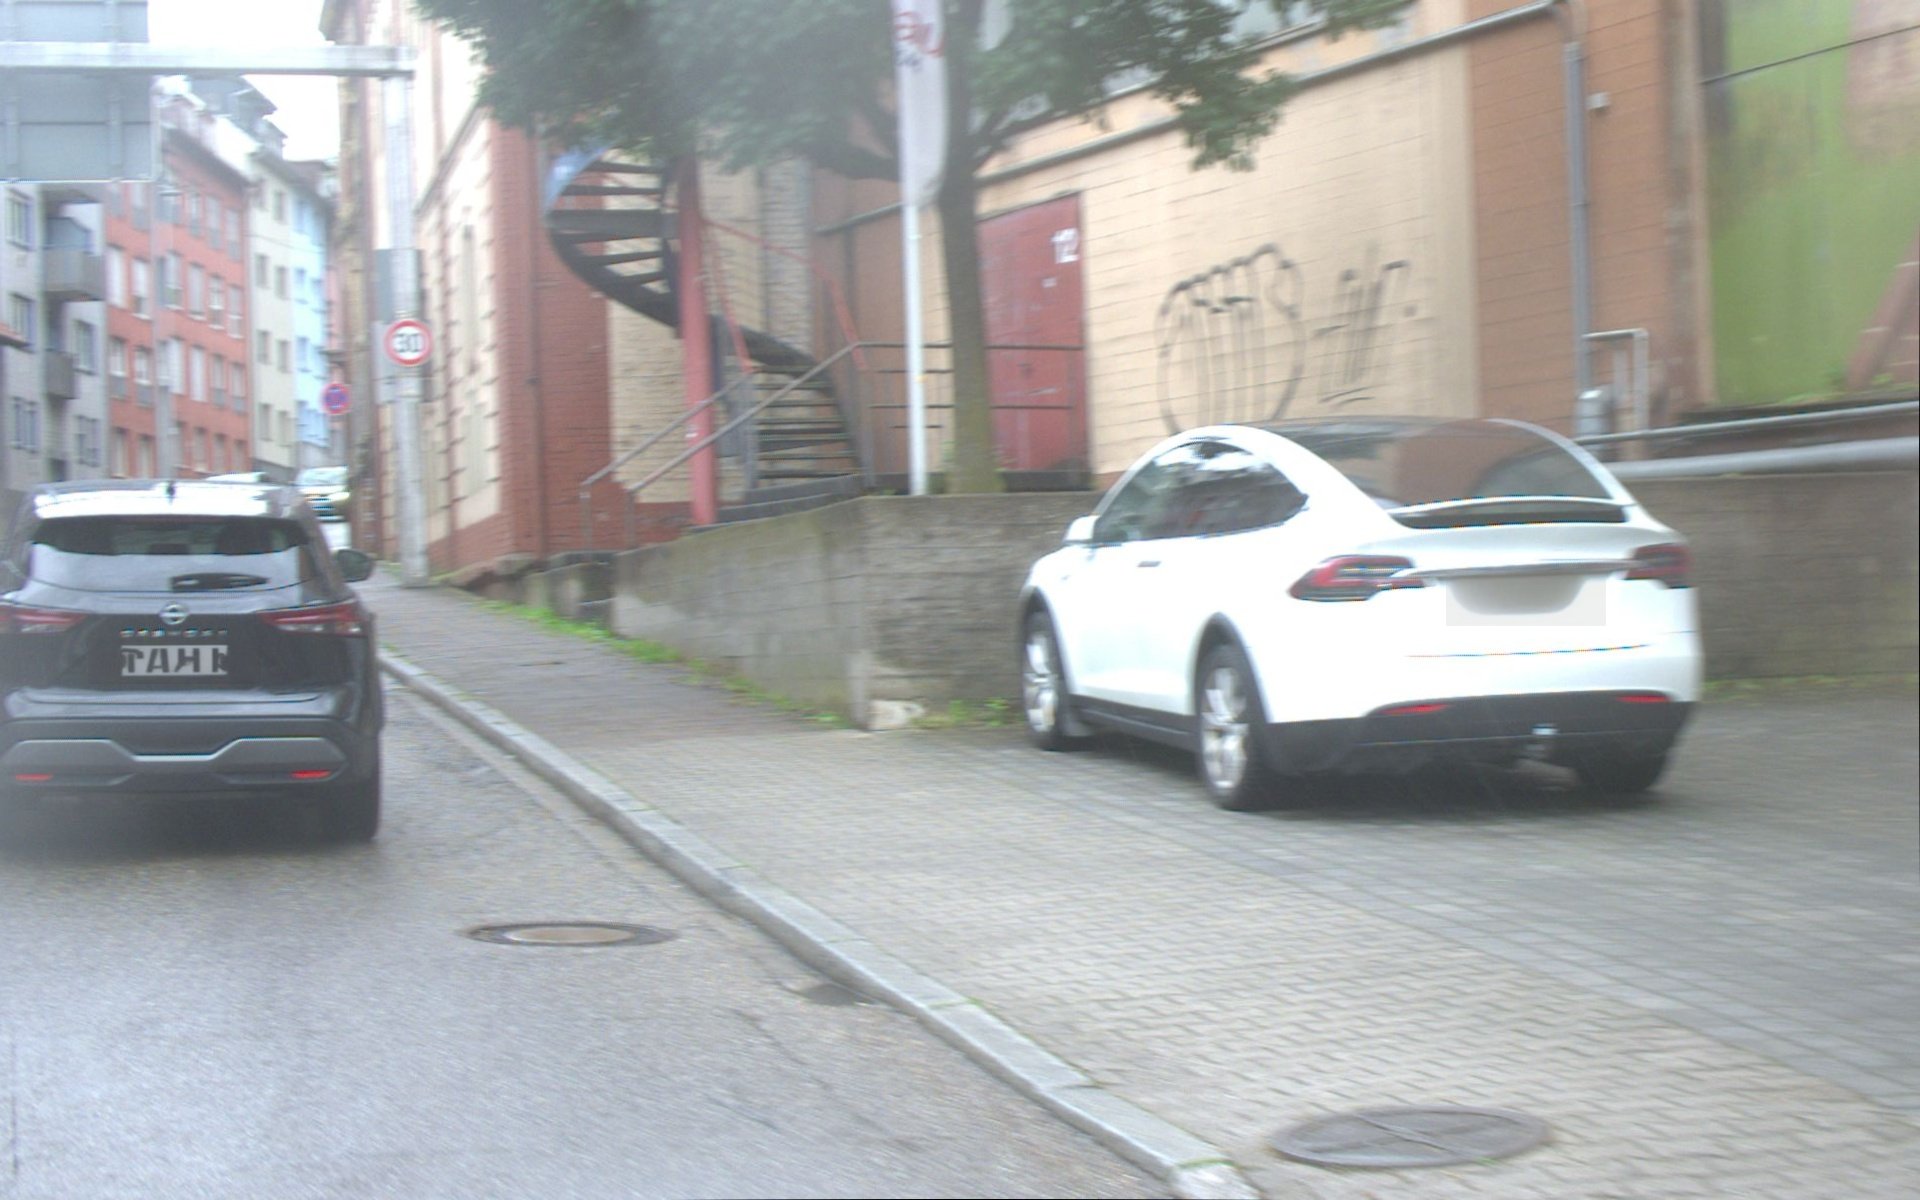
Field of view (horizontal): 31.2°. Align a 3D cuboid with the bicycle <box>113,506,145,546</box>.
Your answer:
[{"bbox_3d":[-24.446,-2.189,101.118,0.498,1.103,1.800,-1,3,-1],"label":"bicycle"}]

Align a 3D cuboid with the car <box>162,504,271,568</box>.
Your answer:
[{"bbox_3d":[-18.892,-1.606,87.497,1.794,1.505,4.000,-1,0,2],"label":"car"}]

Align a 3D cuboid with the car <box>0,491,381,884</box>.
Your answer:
[{"bbox_3d":[-3.849,0.314,15.939,1.880,1.588,3.922,1,1,-15],"label":"car"}]

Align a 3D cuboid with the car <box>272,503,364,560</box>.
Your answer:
[{"bbox_3d":[-18.595,-1.973,99.716,1.794,1.505,4.000,-1,0,2],"label":"car"}]

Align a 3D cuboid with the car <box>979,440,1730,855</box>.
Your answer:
[{"bbox_3d":[1.620,0.069,16.134,1.852,1.611,4.917,-1,3,-14],"label":"car"}]
